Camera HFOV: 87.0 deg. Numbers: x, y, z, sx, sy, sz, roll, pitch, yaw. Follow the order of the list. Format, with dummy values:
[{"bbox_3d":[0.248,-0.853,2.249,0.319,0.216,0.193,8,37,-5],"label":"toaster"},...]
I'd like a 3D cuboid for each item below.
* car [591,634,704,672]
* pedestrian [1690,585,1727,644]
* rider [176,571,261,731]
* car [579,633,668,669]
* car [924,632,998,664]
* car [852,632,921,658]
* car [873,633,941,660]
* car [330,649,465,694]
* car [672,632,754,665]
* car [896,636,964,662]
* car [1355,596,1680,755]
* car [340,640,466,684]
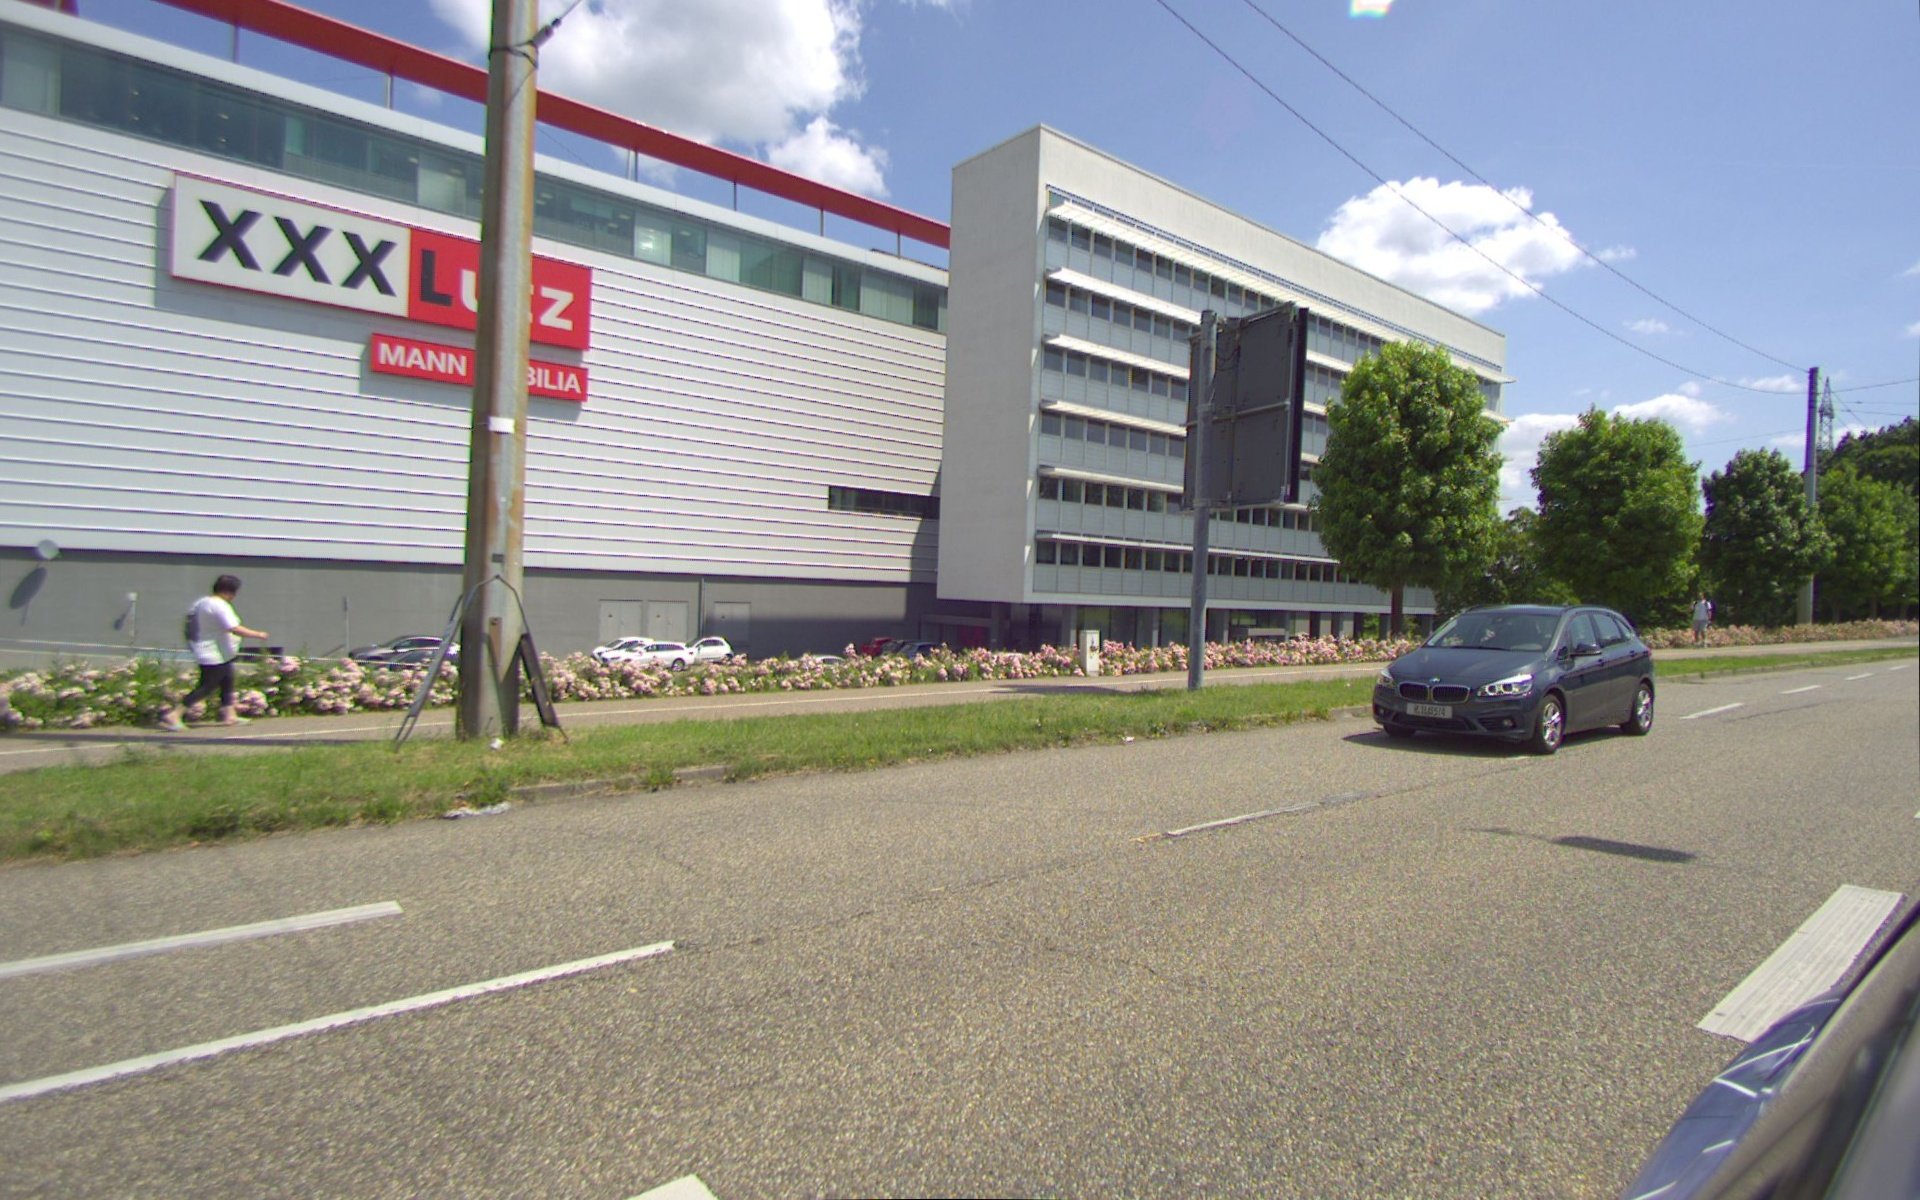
[{"bbox_3d":[-15.601,2.592,50.684,5.056,1.632,1.997,0,0,-41],"label":"car"},{"bbox_3d":[24.127,0.463,32.633,0.913,1.872,0.758,1,0,-38],"label":"pedestrian"},{"bbox_3d":[-7.202,0.468,9.824,0.607,1.476,0.670,1,0,-41],"label":"rider"},{"bbox_3d":[-17.486,2.605,52.643,3.930,1.632,1.997,0,0,-41],"label":"car"},{"bbox_3d":[0.063,2.697,57.884,3.930,1.632,1.997,0,0,-41],"label":"car"},{"bbox_3d":[-4.614,2.814,63.534,3.930,1.465,1.997,0,0,-41],"label":"car"},{"bbox_3d":[-3.165,2.793,61.194,3.930,1.403,1.646,0,0,-41],"label":"car"},{"bbox_3d":[-21.943,2.747,39.538,4.278,1.416,1.996,0,0,-43],"label":"car"},{"bbox_3d":[-13.610,2.629,55.930,3.930,1.632,1.997,0,0,-41],"label":"car"},{"bbox_3d":[-1.738,2.851,59.462,3.930,1.338,1.607,0,0,-41],"label":"car"},{"bbox_3d":[6.547,0.744,11.748,4.022,1.546,1.766,0,0,-36],"label":"car"},{"bbox_3d":[-24.199,2.649,44.084,4.509,1.632,1.997,0,0,-41],"label":"car"}]
